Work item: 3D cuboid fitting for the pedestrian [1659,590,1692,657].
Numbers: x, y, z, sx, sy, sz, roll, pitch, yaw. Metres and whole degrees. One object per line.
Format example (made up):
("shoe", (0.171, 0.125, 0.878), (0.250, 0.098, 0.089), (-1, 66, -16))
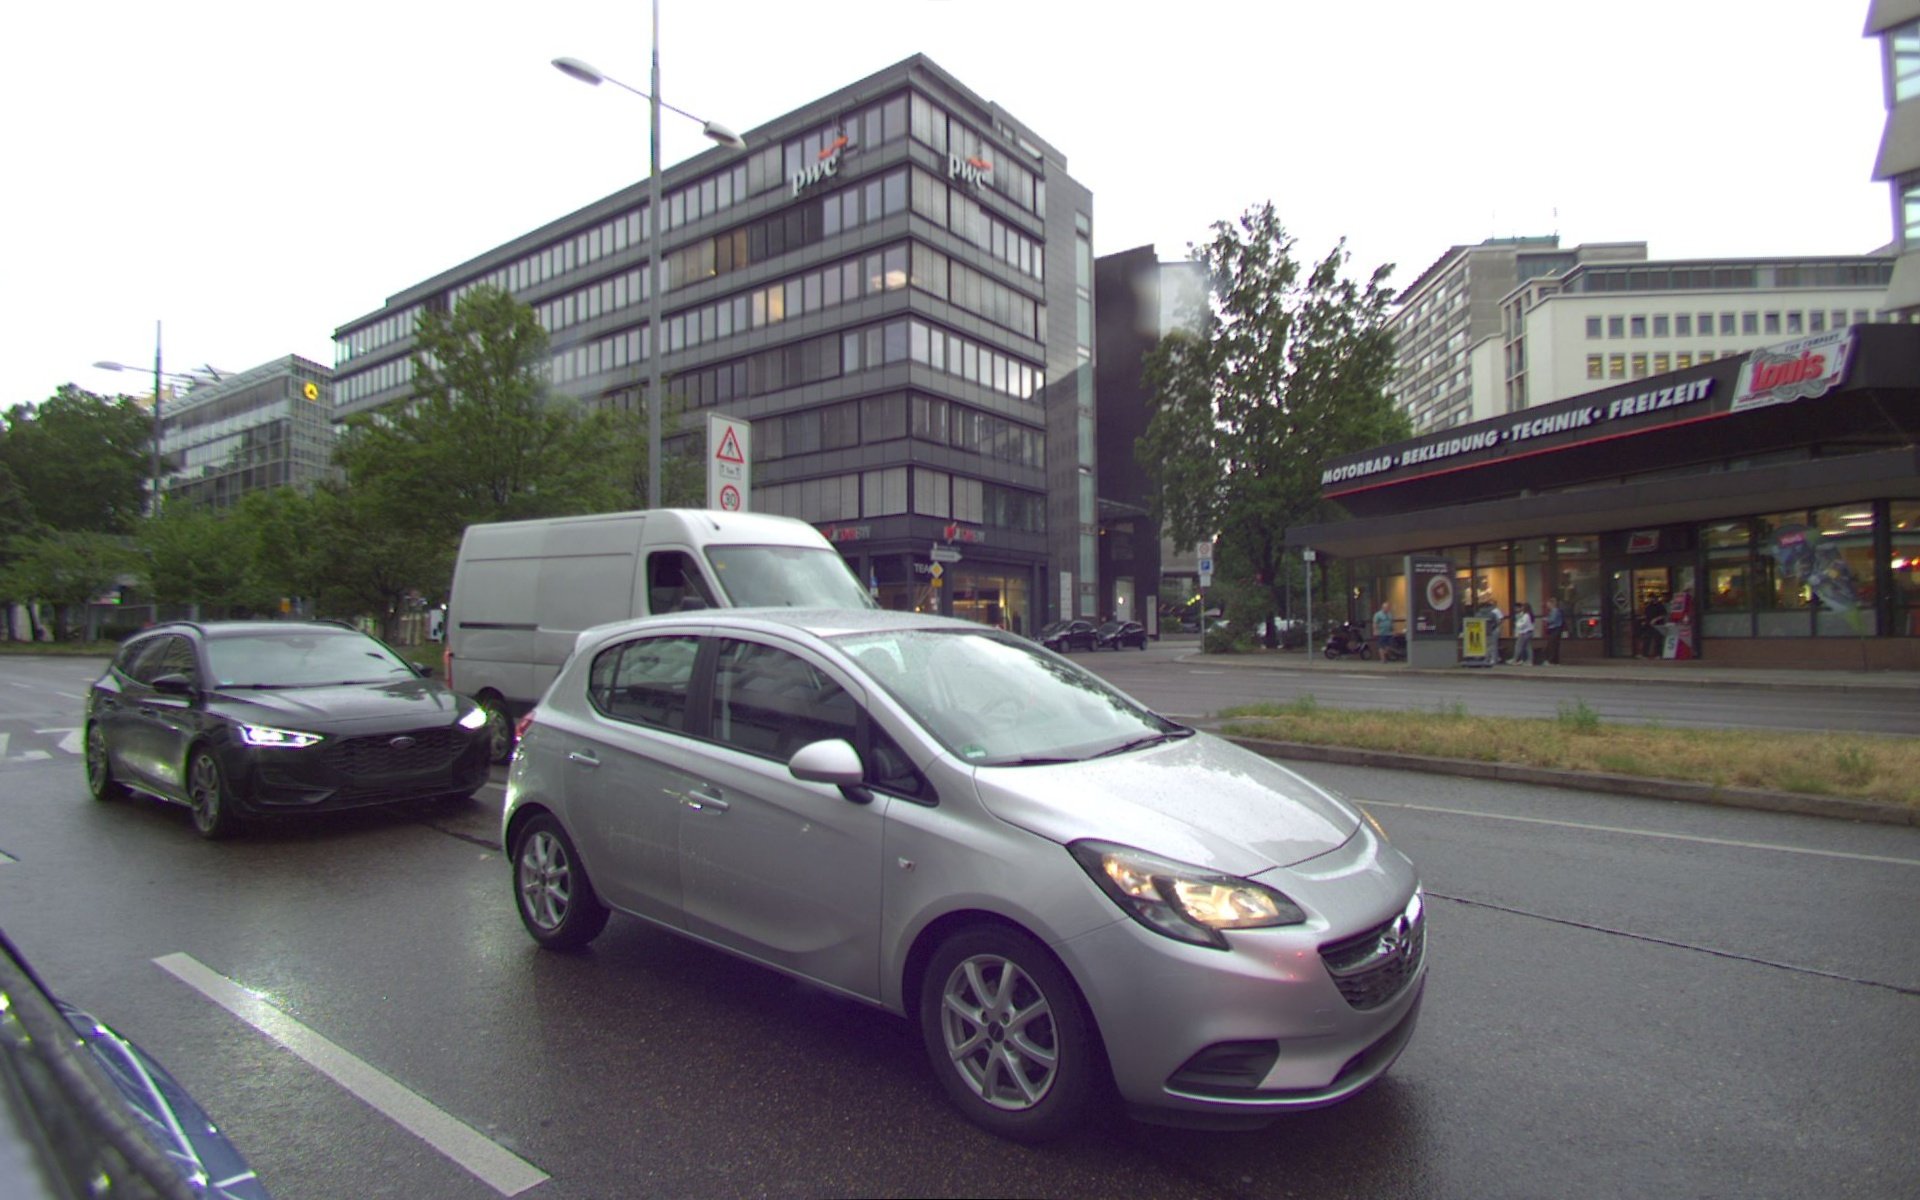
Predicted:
("pedestrian", (18.825, 0.613, 26.628), (0.501, 1.731, 0.447), (-1, -1, -16))

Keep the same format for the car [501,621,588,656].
("car", (-19.411, 1.792, 47.238), (3.992, 1.518, 1.975), (-2, -1, 36))

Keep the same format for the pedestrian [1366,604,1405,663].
("pedestrian", (12.342, 0.964, 29.389), (0.721, 1.661, 0.702), (-1, -1, -19))

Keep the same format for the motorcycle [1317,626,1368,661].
("motorcycle", (12.963, 1.462, 34.269), (1.600, 1.153, 0.360), (-1, -1, -8))

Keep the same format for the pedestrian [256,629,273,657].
("pedestrian", (-52.472, 3.243, 76.367), (0.539, 2.029, 0.917), (-2, -1, 39))

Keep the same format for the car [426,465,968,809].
("car", (-2.722, 0.324, 9.637), (5.468, 2.459, 1.929), (-2, -1, 36))

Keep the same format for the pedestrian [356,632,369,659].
("pedestrian", (-44.786, 3.387, 75.896), (0.500, 2.029, 0.681), (-2, -1, 38))

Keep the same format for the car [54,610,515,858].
("car", (-5.422, 0.849, 7.940), (4.087, 1.446, 1.755), (-2, -1, 37))

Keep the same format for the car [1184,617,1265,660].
("car", (10.666, 1.511, 40.628), (1.847, 1.596, 3.716), (-2, -1, 37))

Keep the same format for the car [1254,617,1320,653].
("car", (15.563, 1.634, 48.029), (1.847, 1.596, 3.716), (-2, -1, 37))

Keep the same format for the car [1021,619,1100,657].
("car", (4.538, 1.666, 45.461), (1.847, 1.596, 3.716), (-2, -1, 37))

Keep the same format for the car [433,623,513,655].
("car", (-24.601, 1.975, 51.089), (4.100, 1.518, 1.975), (-2, -1, 36))

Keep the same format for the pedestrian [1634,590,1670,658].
("pedestrian", (17.852, 0.625, 26.122), (0.516, 1.731, 0.500), (-1, -1, -16))

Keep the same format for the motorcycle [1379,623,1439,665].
("motorcycle", (13.832, 1.350, 31.216), (1.646, 1.242, 0.360), (-1, -1, 2))

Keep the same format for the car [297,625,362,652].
("car", (-37.946, 2.297, 60.899), (3.992, 1.518, 1.975), (-2, -1, 36))

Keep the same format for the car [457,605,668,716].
("car", (-6.577, 0.931, 16.621), (3.492, 1.630, 1.744), (-2, -1, 39))

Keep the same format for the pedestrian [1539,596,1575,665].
("pedestrian", (15.385, 0.783, 26.078), (0.532, 1.757, 0.560), (0, -1, -29))

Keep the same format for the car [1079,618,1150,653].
("car", (7.572, 1.723, 49.457), (1.847, 1.596, 3.716), (-2, -1, 37))

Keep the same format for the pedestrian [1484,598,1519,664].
("pedestrian", (14.679, 0.827, 27.433), (0.605, 1.757, 0.560), (0, -1, -29))

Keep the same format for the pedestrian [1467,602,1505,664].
("pedestrian", (13.997, 0.875, 26.930), (0.605, 1.623, 0.614), (0, -1, -29))

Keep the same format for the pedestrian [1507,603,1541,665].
("pedestrian", (14.743, 0.879, 26.462), (0.532, 1.582, 0.560), (0, -1, -29))

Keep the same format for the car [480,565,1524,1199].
("car", (-0.159, 0.692, 3.949), (3.872, 1.446, 1.631), (-2, -1, 40))

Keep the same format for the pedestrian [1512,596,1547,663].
("pedestrian", (15.186, 0.786, 26.987), (0.532, 1.757, 0.560), (0, -1, -29))
